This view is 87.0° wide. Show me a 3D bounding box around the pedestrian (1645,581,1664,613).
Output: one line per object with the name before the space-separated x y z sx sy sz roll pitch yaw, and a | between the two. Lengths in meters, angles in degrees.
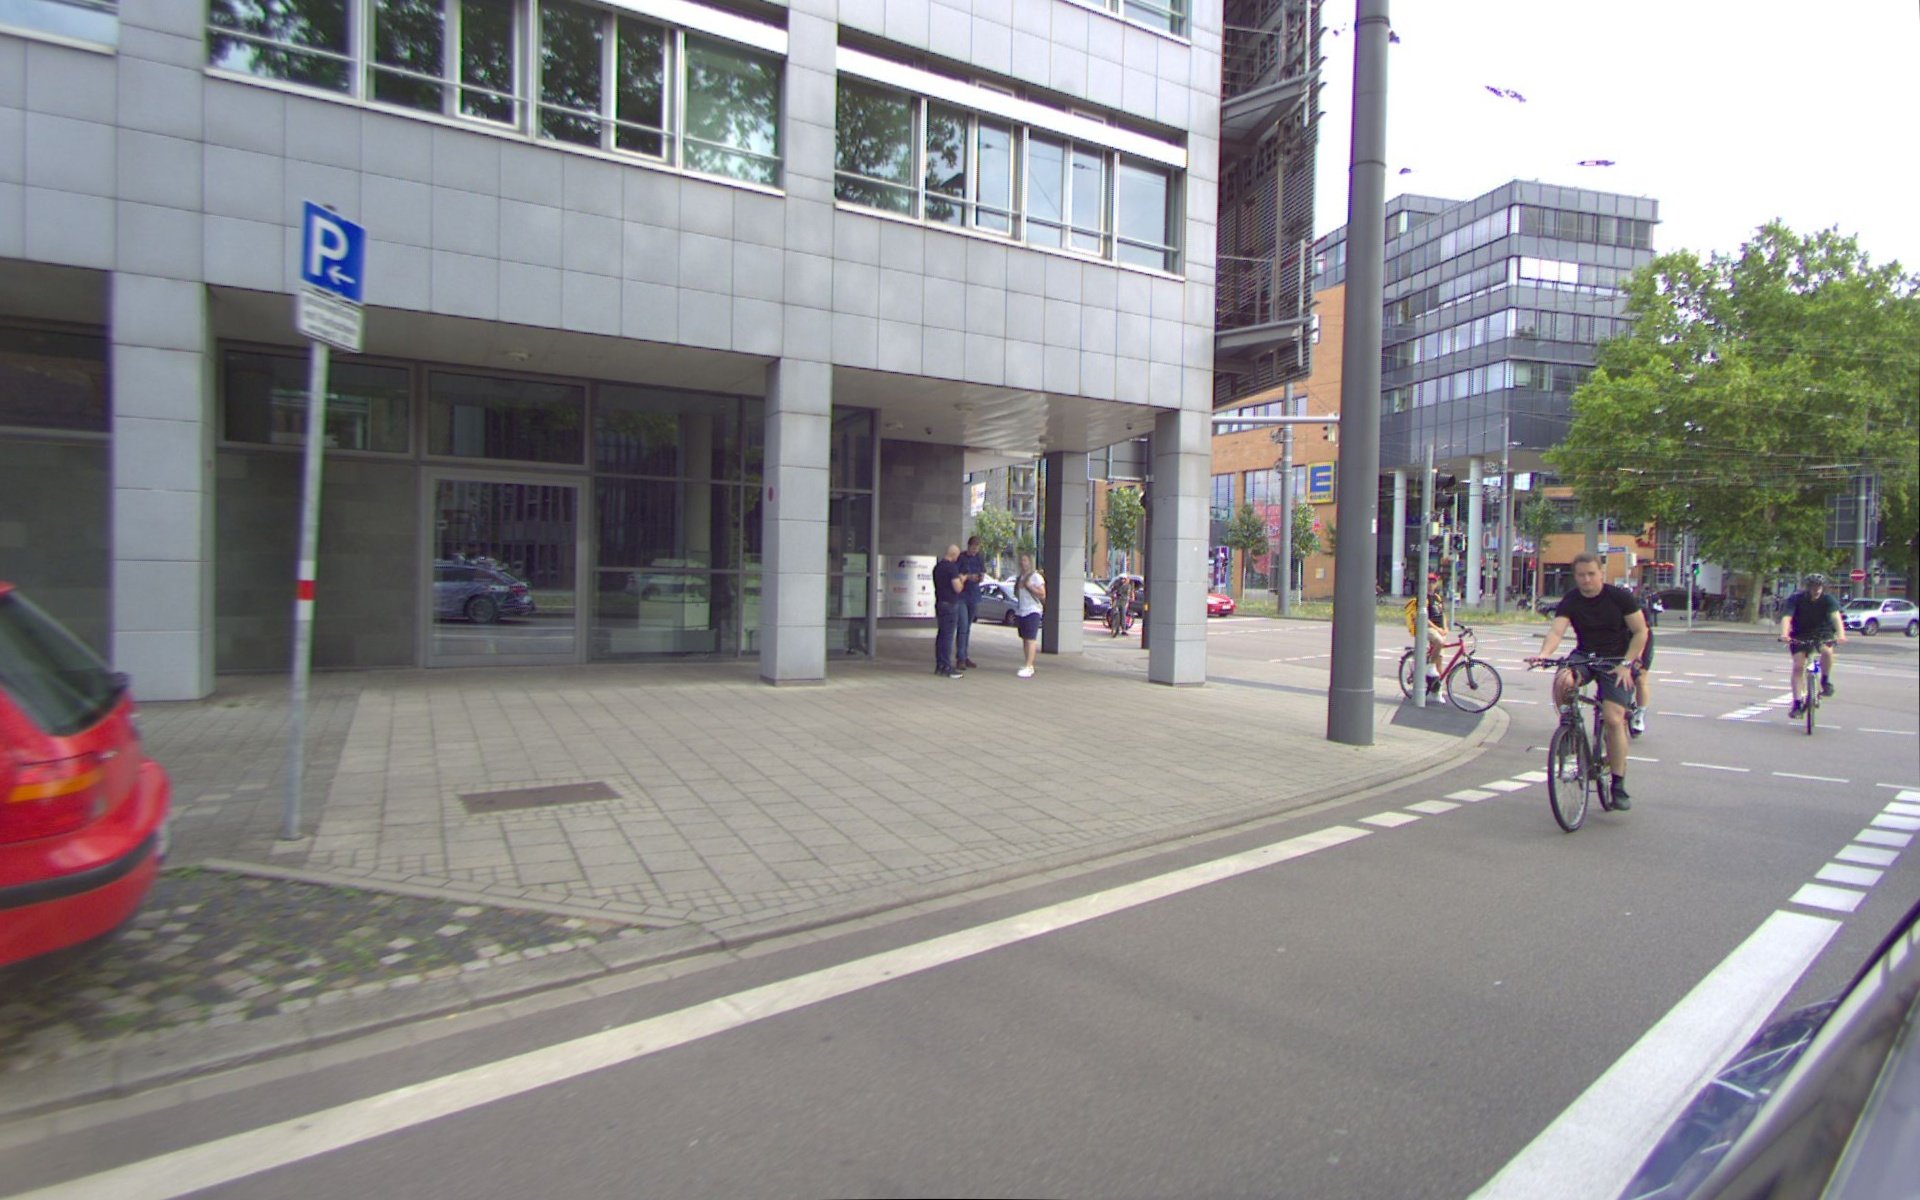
pedestrian | 38.758 -0.188 56.470 0.729 1.753 0.588 1 1 -32

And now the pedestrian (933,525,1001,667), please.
pedestrian | 0.102 -0.060 14.979 0.662 2.039 0.604 4 0 -34

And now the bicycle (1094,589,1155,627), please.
bicycle | 5.215 0.239 32.246 0.670 1.069 2.209 -2 3 -30

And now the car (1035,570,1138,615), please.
car | 4.764 -0.316 38.671 1.787 1.551 4.004 -1 3 -32

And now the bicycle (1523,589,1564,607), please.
bicycle | 34.808 -0.127 60.376 0.625 1.023 2.007 0 2 -32

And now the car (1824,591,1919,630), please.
car | 40.965 0.435 44.854 4.541 1.682 1.969 0 0 -18

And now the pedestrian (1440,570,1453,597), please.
pedestrian | 34.289 -1.150 71.297 0.617 1.889 0.670 2 2 15

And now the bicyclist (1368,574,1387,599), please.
bicyclist | 28.332 -0.931 68.687 0.625 1.635 0.979 -1 3 -33

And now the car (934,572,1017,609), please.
car | 0.629 -0.462 44.533 1.787 1.478 4.004 -2 3 -32

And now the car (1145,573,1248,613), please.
car | 9.633 -0.317 41.476 1.787 1.450 4.004 -2 3 -32

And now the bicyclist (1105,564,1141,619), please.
bicyclist | 5.200 -0.287 32.291 0.662 1.686 0.982 -2 3 -30

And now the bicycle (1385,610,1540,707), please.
bicycle | 6.967 0.772 14.148 0.711 1.152 1.909 1 2 -22

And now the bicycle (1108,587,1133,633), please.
bicycle | 4.609 0.264 29.151 0.650 1.152 2.436 0 3 8

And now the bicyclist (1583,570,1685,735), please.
bicyclist | 7.226 0.526 10.848 1.016 1.674 0.591 0 2 -40

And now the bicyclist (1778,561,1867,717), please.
bicyclist | 10.403 0.441 12.203 1.016 1.792 0.591 0 2 -40

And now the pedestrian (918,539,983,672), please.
pedestrian | -0.133 0.067 13.605 0.630 1.748 0.548 2 1 -29

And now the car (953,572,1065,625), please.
car | 1.551 -0.099 33.647 1.787 1.551 4.004 -2 3 -32

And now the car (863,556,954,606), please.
car | -2.048 -0.790 38.913 1.787 1.783 4.004 0 3 -32

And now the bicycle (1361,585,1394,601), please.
bicycle | 28.329 -0.489 68.687 0.626 1.023 2.007 0 3 -32

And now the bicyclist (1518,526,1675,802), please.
bicyclist | 4.467 0.400 7.095 1.016 1.789 0.591 0 2 -40

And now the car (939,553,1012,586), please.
car | 0.735 -1.563 51.046 1.787 1.551 4.004 -2 3 -32

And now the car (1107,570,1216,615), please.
car | 7.792 -0.346 39.442 1.787 1.551 4.224 -2 3 -32

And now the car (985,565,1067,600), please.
car | 3.001 -0.859 46.649 1.787 1.478 4.004 -2 3 -32

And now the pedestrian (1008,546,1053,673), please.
pedestrian | 1.002 0.125 14.416 0.545 1.748 0.495 2 1 2

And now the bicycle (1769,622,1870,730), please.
bicycle | 10.387 0.876 12.206 1.825 1.153 0.595 0 2 -40

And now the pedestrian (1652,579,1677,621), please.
pedestrian | 30.704 -0.004 44.093 0.657 1.813 0.678 0 2 -38

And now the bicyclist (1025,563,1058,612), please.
bicyclist | 2.860 -0.454 35.454 0.730 1.686 0.982 -2 3 -30

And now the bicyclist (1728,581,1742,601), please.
bicyclist | 54.755 -0.638 71.490 0.723 1.450 0.532 0 2 -30

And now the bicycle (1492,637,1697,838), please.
bicycle | 4.547 0.891 7.185 2.054 1.153 0.595 0 2 -40

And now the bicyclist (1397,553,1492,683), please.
bicyclist | 6.880 0.232 14.394 0.704 1.786 0.918 1 2 -22

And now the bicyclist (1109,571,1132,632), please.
bicyclist | 4.629 0.024 29.284 0.649 1.695 1.033 0 3 9

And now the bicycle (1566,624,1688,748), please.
bicycle | 7.140 0.873 10.805 1.704 1.153 0.595 0 2 -40

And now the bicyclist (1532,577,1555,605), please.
bicyclist | 34.805 -0.555 60.377 0.625 1.636 0.979 1 2 -33

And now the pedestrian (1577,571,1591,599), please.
pedestrian | 42.819 -1.015 69.425 0.504 1.889 0.547 1 1 -13

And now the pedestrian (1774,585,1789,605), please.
pedestrian | 61.700 -0.385 76.004 0.668 1.529 0.589 0 2 -16

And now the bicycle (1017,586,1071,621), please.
bicycle | 2.912 0.107 35.403 0.735 1.069 2.225 -2 3 -30

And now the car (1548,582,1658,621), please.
car | 31.754 0.018 50.067 1.931 1.760 4.174 0 2 -40

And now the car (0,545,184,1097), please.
car | -4.529 0.576 2.423 4.173 1.449 1.729 0 4 -36

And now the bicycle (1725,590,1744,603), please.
bicycle | 54.720 -0.243 71.486 1.510 0.928 0.536 0 2 -30

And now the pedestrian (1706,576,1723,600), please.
pedestrian | 55.344 -0.863 74.261 0.730 1.753 0.587 1 2 4
